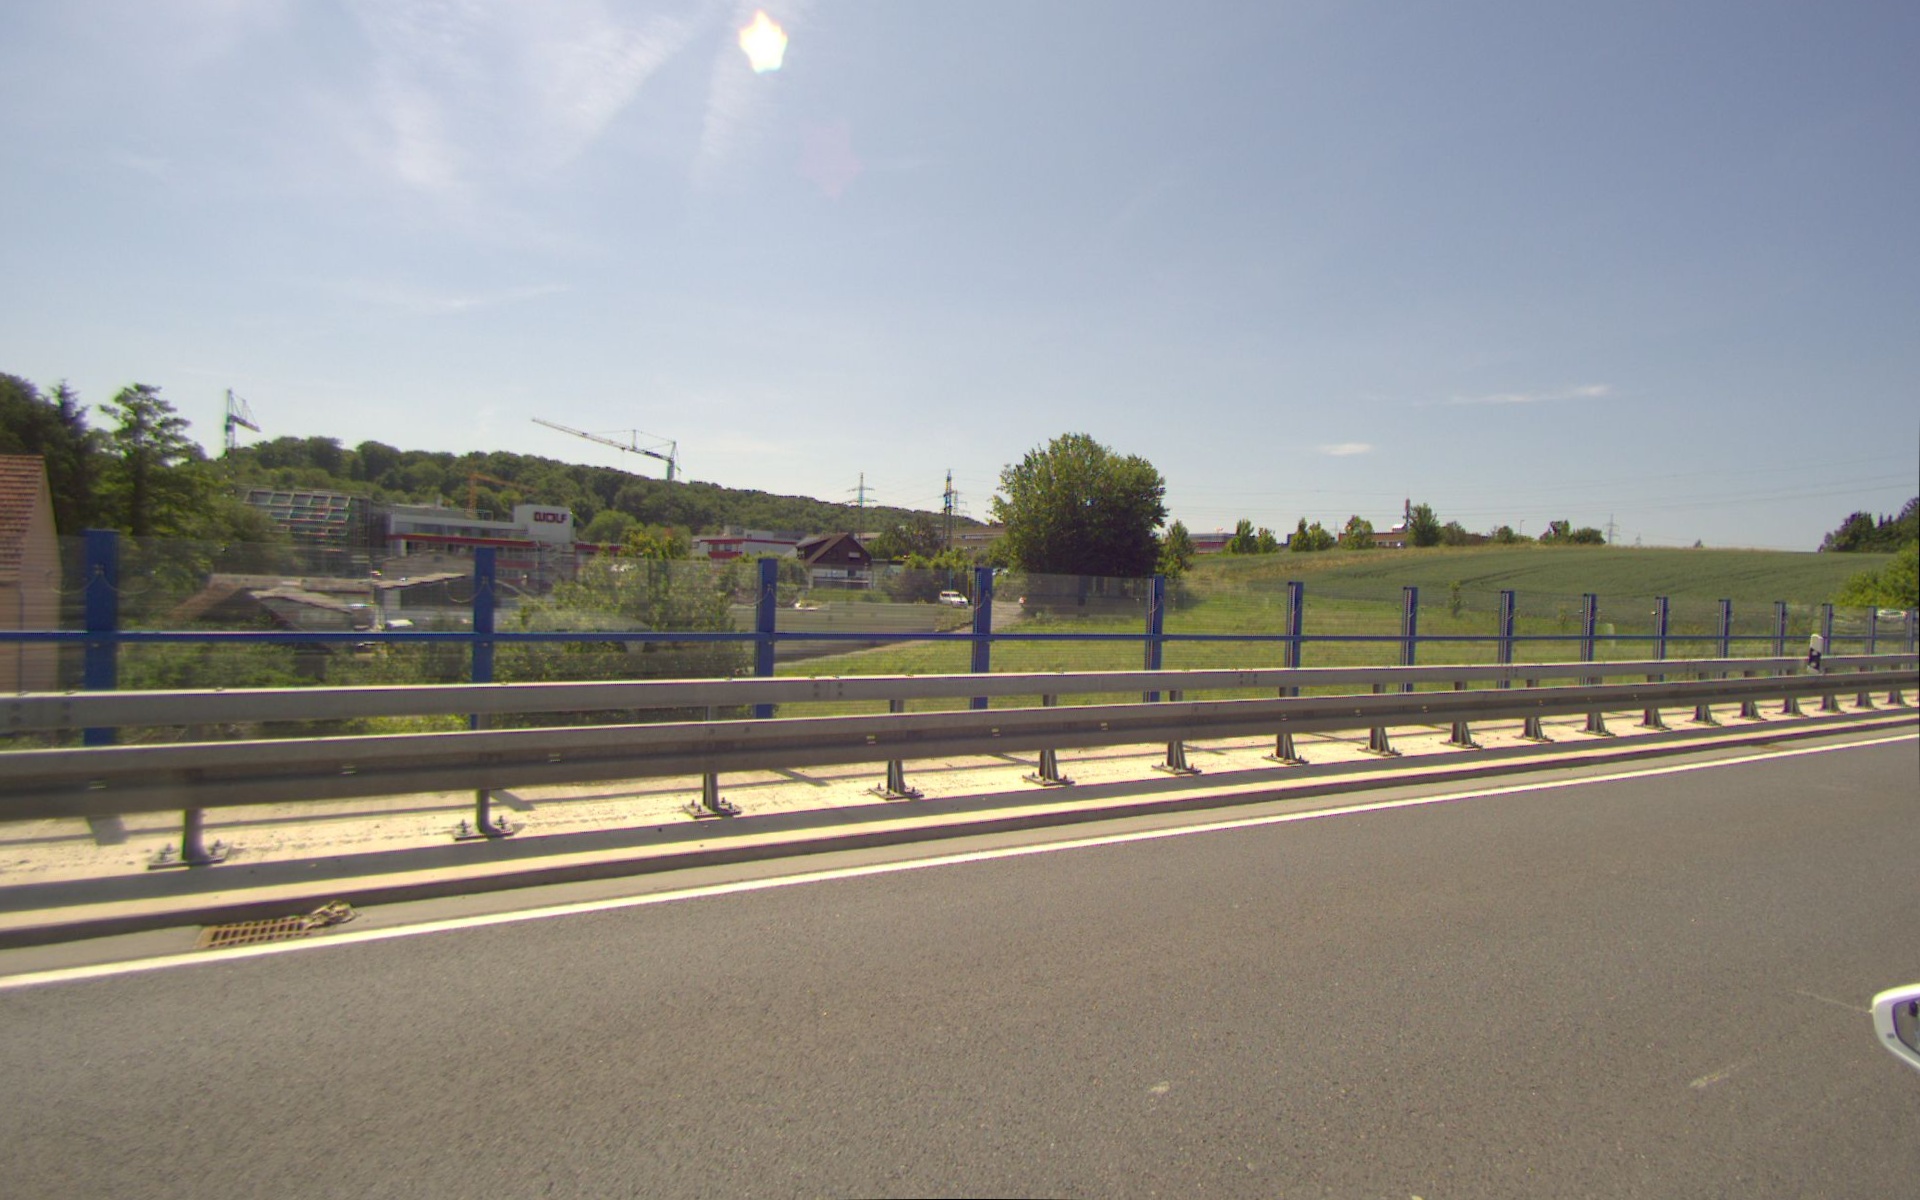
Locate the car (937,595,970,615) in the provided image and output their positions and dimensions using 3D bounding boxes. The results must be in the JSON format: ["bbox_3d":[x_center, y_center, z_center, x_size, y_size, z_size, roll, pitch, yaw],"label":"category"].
[{"bbox_3d":[-0.677,0.510,99.222,1.808,1.625,3.973,-3,5,-25],"label":"car"}]
